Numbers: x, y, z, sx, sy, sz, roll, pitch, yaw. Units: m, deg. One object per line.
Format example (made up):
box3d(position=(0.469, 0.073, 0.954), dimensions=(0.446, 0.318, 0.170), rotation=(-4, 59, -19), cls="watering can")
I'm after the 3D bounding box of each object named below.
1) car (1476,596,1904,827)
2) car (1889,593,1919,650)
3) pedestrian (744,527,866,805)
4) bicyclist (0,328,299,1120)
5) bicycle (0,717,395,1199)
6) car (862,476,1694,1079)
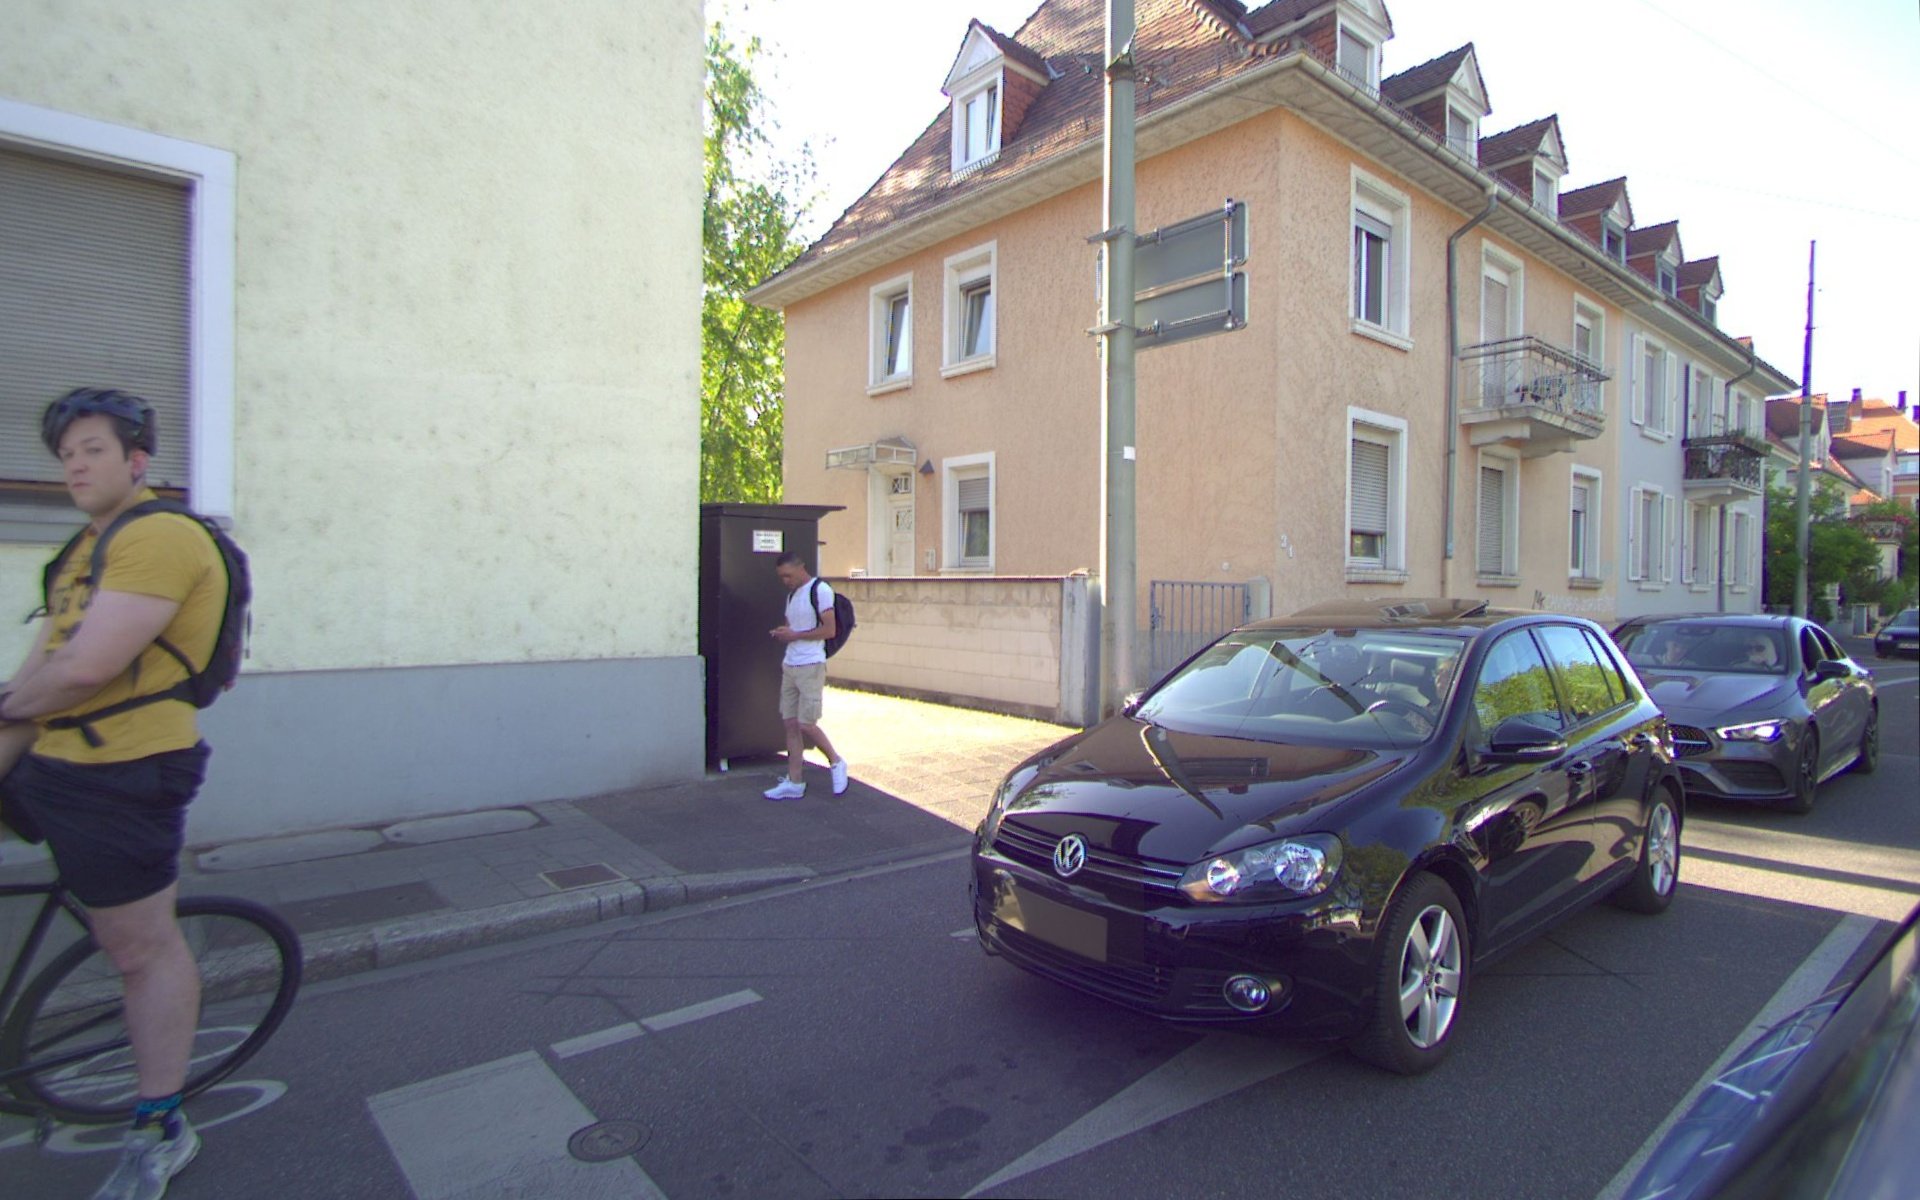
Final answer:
box3d(position=(6.331, 0.698, 8.578), dimensions=(4.413, 1.437, 1.911), rotation=(-1, 0, -40), cls="car")
box3d(position=(26.717, 0.558, 27.420), dimensions=(3.930, 1.476, 1.839), rotation=(-1, 0, -41), cls="car")
box3d(position=(-1.043, 0.406, 6.902), dimensions=(0.577, 1.776, 0.641), rotation=(4, 4, 11), cls="pedestrian")
box3d(position=(-2.222, 0.259, 2.529), dimensions=(0.868, 1.684, 0.807), rotation=(0, 0, -40), cls="bicyclist")
box3d(position=(-2.389, 0.906, 2.384), dimensions=(1.749, 1.044, 0.756), rotation=(-1, 0, -40), cls="bicycle")
box3d(position=(1.697, 0.493, 4.541), dimensions=(3.979, 1.527, 1.731), rotation=(2, -1, -41), cls="car")
